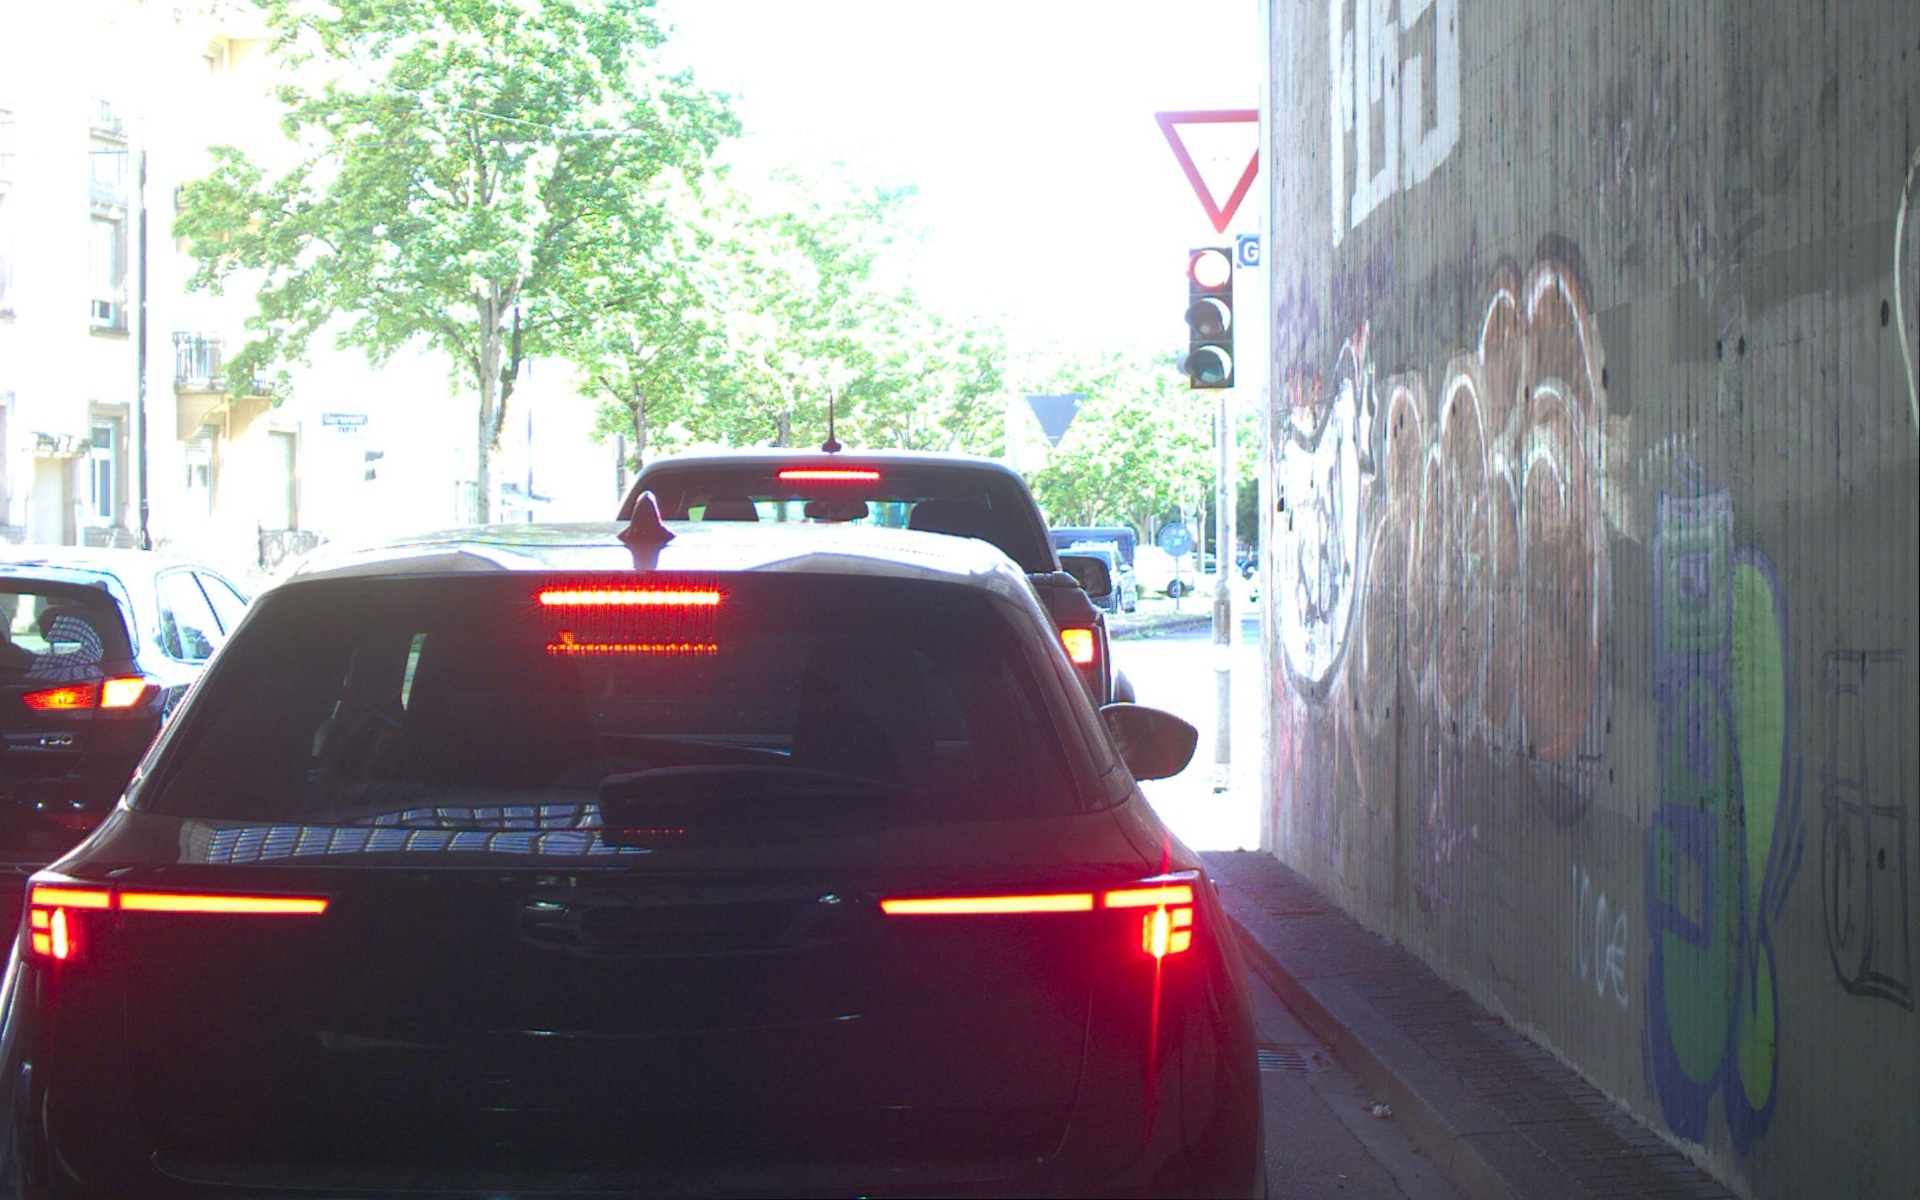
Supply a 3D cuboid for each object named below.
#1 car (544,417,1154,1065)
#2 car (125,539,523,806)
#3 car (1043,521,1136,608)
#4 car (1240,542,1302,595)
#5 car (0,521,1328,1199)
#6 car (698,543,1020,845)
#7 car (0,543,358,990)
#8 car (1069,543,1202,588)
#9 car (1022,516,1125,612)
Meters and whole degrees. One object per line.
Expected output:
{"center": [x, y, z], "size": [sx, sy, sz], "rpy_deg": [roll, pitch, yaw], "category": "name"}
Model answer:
{"center": [-0.345, 0.377, 12.034], "size": [1.762, 1.876, 4.146], "rpy_deg": [0, 1, -1], "category": "car"}
{"center": [-3.772, 0.372, 21.006], "size": [1.762, 1.475, 3.844], "rpy_deg": [0, 1, -1], "category": "car"}
{"center": [2.600, -0.700, 68.309], "size": [1.754, 1.661, 3.944], "rpy_deg": [1, 1, 3], "category": "car"}
{"center": [10.141, -1.024, 111.900], "size": [1.754, 1.661, 3.943], "rpy_deg": [1, 1, 9], "category": "car"}
{"center": [-0.473, 0.638, 6.094], "size": [1.762, 1.526, 4.089], "rpy_deg": [0, 1, -1], "category": "car"}
{"center": [-0.530, 0.439, 19.254], "size": [1.609, 1.508, 4.054], "rpy_deg": [0, 1, -1], "category": "car"}
{"center": [-3.522, 0.518, 13.282], "size": [1.762, 1.475, 3.844], "rpy_deg": [0, 1, -1], "category": "car"}
{"center": [6.826, -1.336, 133.769], "size": [4.798, 1.661, 1.824], "rpy_deg": [1, 1, -21], "category": "car"}
{"center": [2.080, -0.646, 62.190], "size": [1.754, 1.661, 3.944], "rpy_deg": [1, 1, 3], "category": "car"}
